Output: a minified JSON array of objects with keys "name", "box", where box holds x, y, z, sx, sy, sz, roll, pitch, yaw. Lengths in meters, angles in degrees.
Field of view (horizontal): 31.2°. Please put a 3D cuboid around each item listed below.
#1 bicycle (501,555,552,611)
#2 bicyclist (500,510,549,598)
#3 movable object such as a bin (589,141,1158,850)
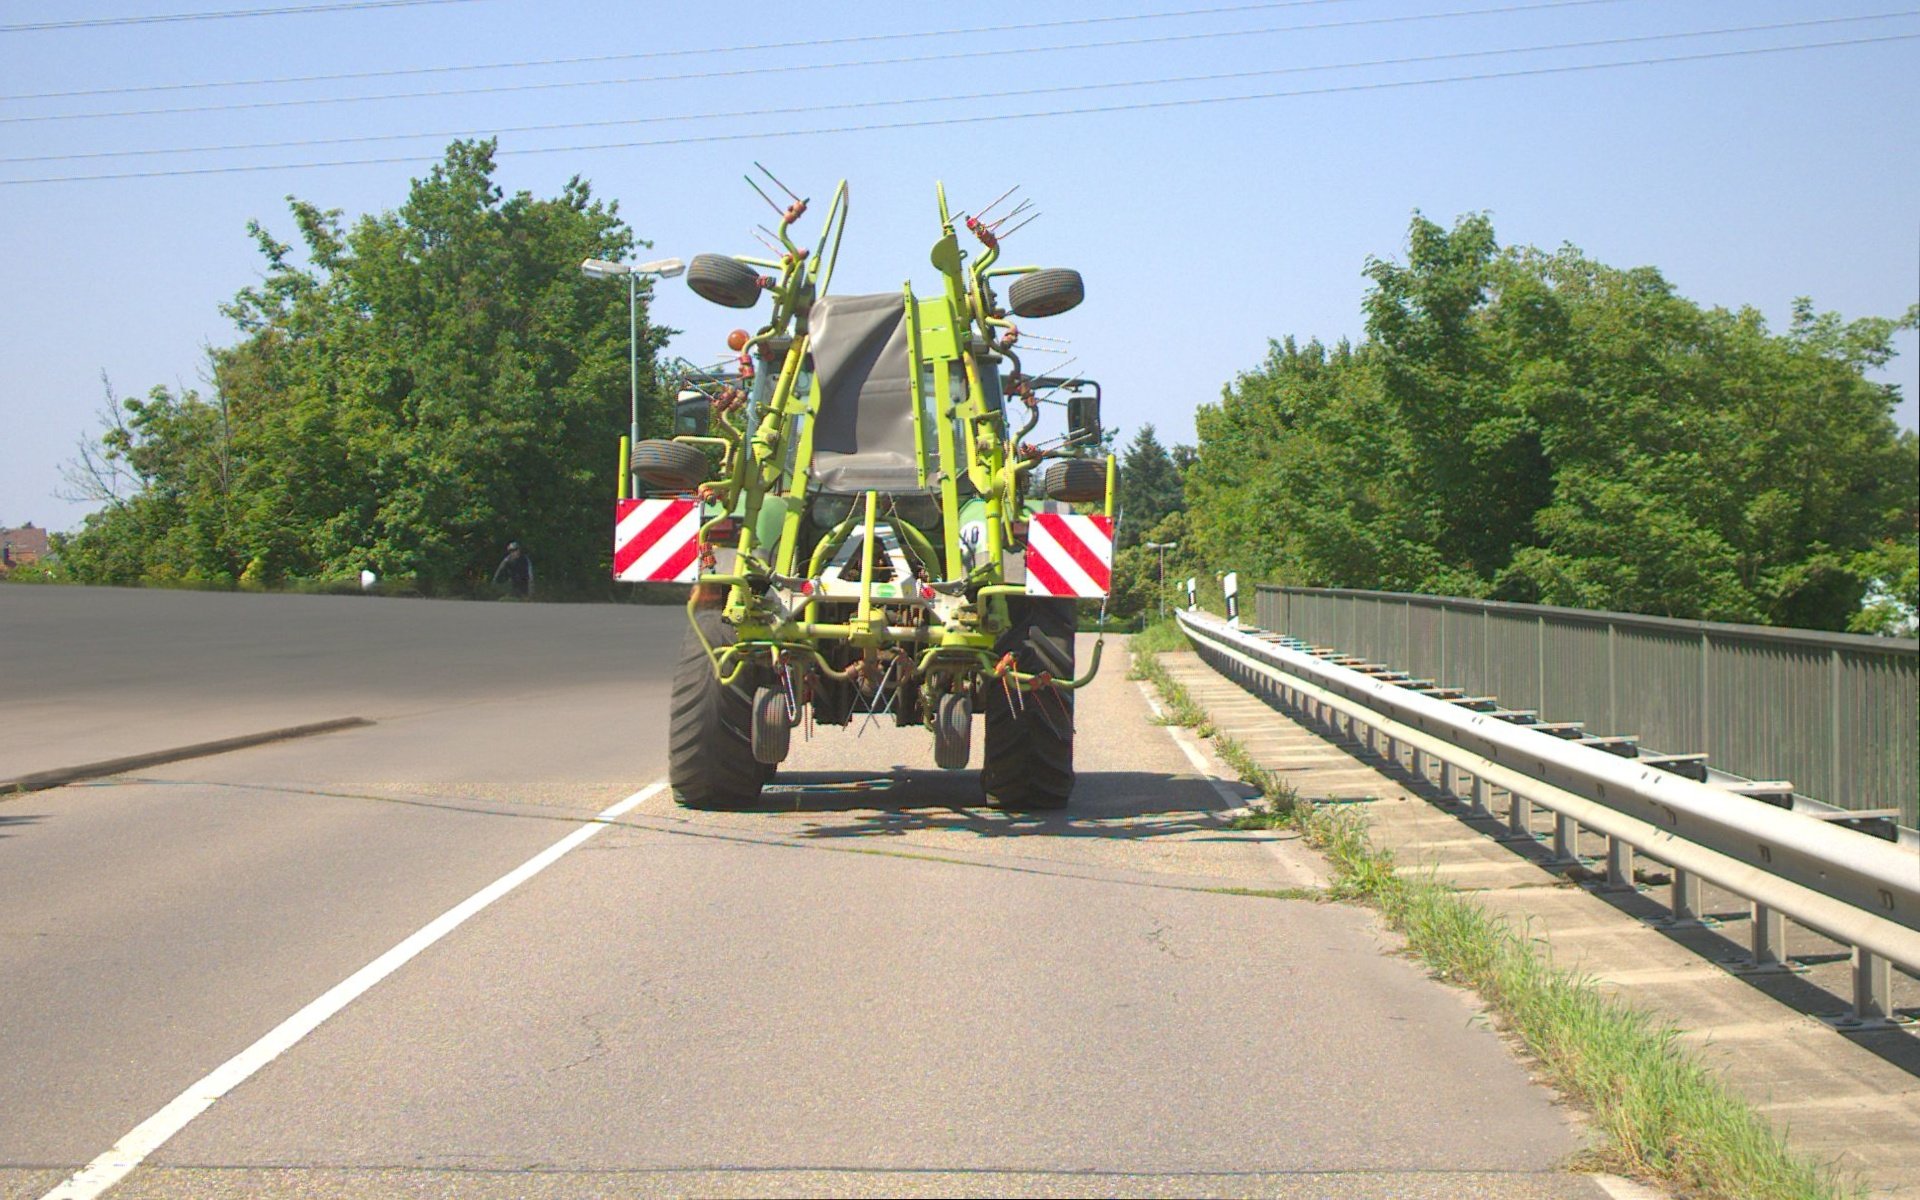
[{"name":"bicycle","box":[-8.088,-0.323,64.190,0.677,0.998,2.119,-1,1,0]},{"name":"bicyclist","box":[-8.134,-0.873,64.236,0.765,1.628,0.895,0,1,1]},{"name":"movable object such as a bin","box":[-0.455,-0.582,19.514,2.755,3.432,5.670,0,2,-1]}]
